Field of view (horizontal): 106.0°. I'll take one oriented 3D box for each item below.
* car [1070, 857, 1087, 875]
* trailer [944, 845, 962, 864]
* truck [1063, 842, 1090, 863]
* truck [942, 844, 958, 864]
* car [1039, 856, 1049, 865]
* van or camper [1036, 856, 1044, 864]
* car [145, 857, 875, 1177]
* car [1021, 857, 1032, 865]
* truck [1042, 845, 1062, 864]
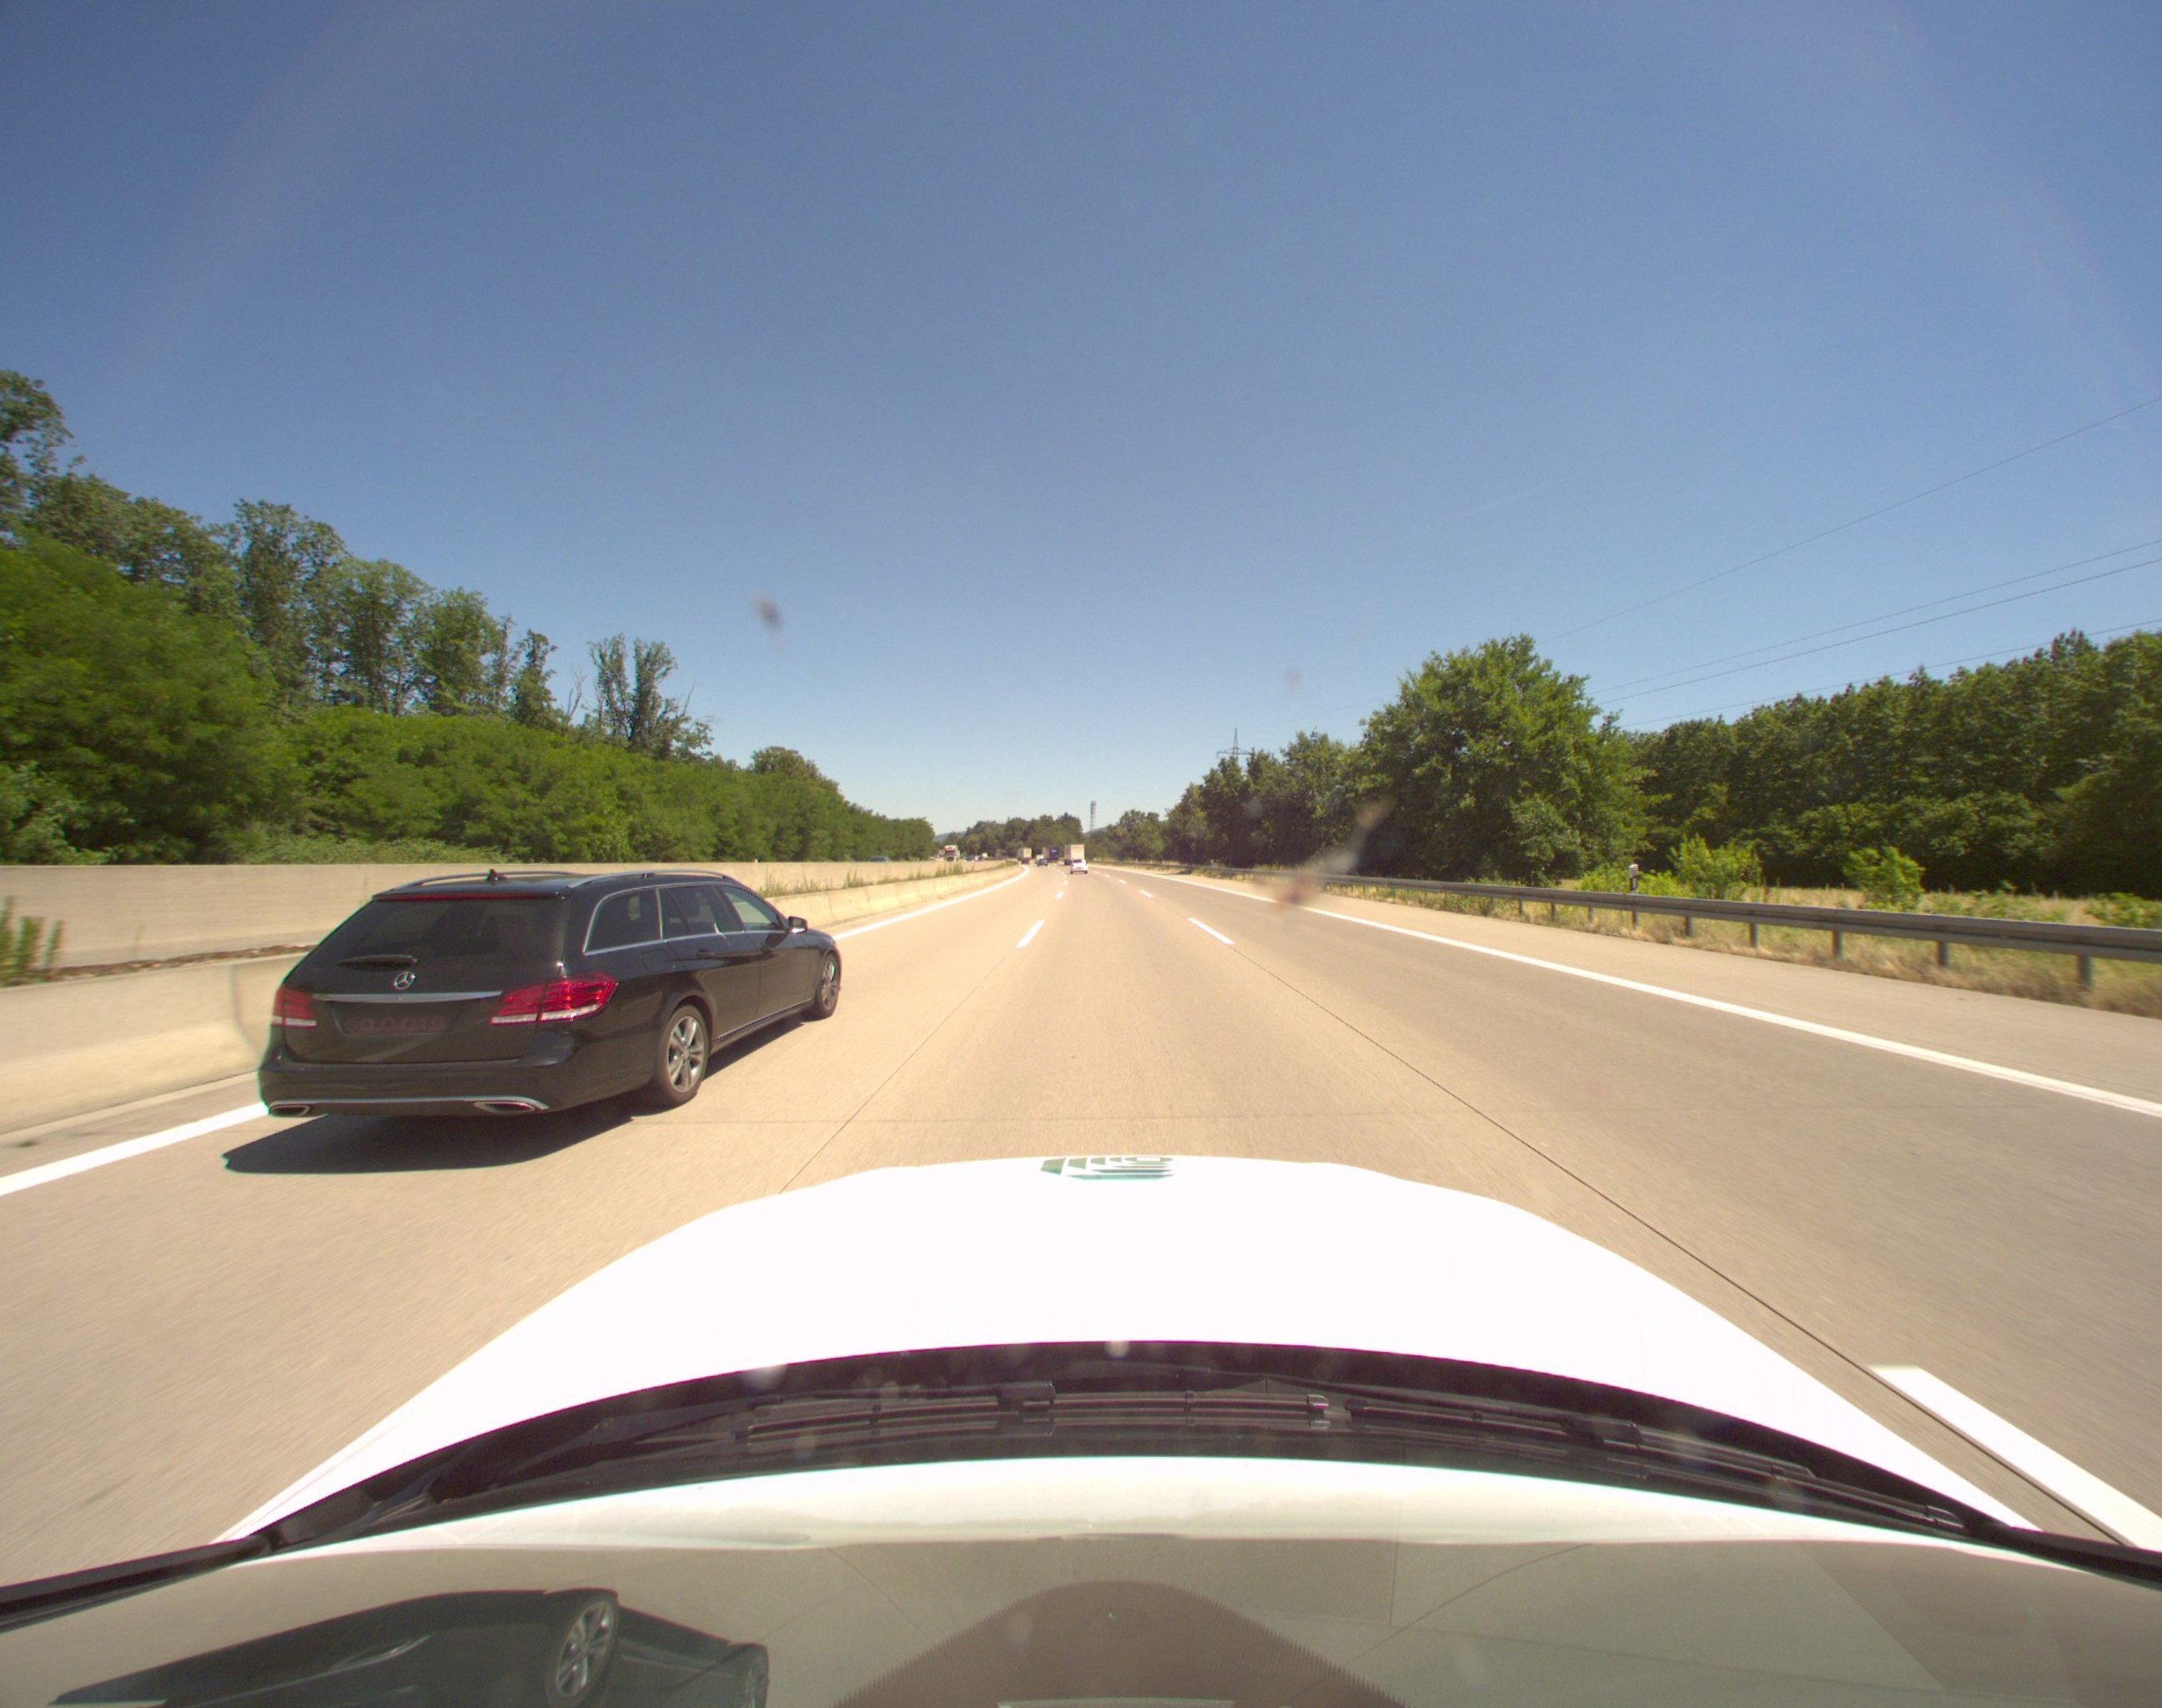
[{"bbox_3d":[-0.267,1.232,82.701,1.636,1.662,3.359,4,0,0],"label":"car"},{"bbox_3d":[-27.693,0.131,176.335,2.677,3.935,13.226,-1,0,-4],"label":"trailer"},{"bbox_3d":[-0.974,-0.252,157.254,3.815,3.889,14.124,-1,0,-6],"label":"truck"},{"bbox_3d":[-27.223,0.064,168.925,2.660,3.935,5.960,-1,0,-4],"label":"truck"},{"bbox_3d":[-6.978,1.256,153.439,1.610,1.725,3.561,-1,0,-10],"label":"car"},{"bbox_3d":[-10.041,1.408,198.558,1.863,1.838,3.996,-1,0,-2],"label":"van or camper"},{"bbox_3d":[-3.402,0.777,6.637,1.884,1.473,5.605,-1,0,1],"label":"car"},{"bbox_3d":[-12.427,1.535,185.921,2.020,1.700,3.990,4,0,-7],"label":"car"},{"bbox_3d":[-7.517,0.240,211.154,3.904,4.741,14.014,-1,0,-7],"label":"truck"}]
